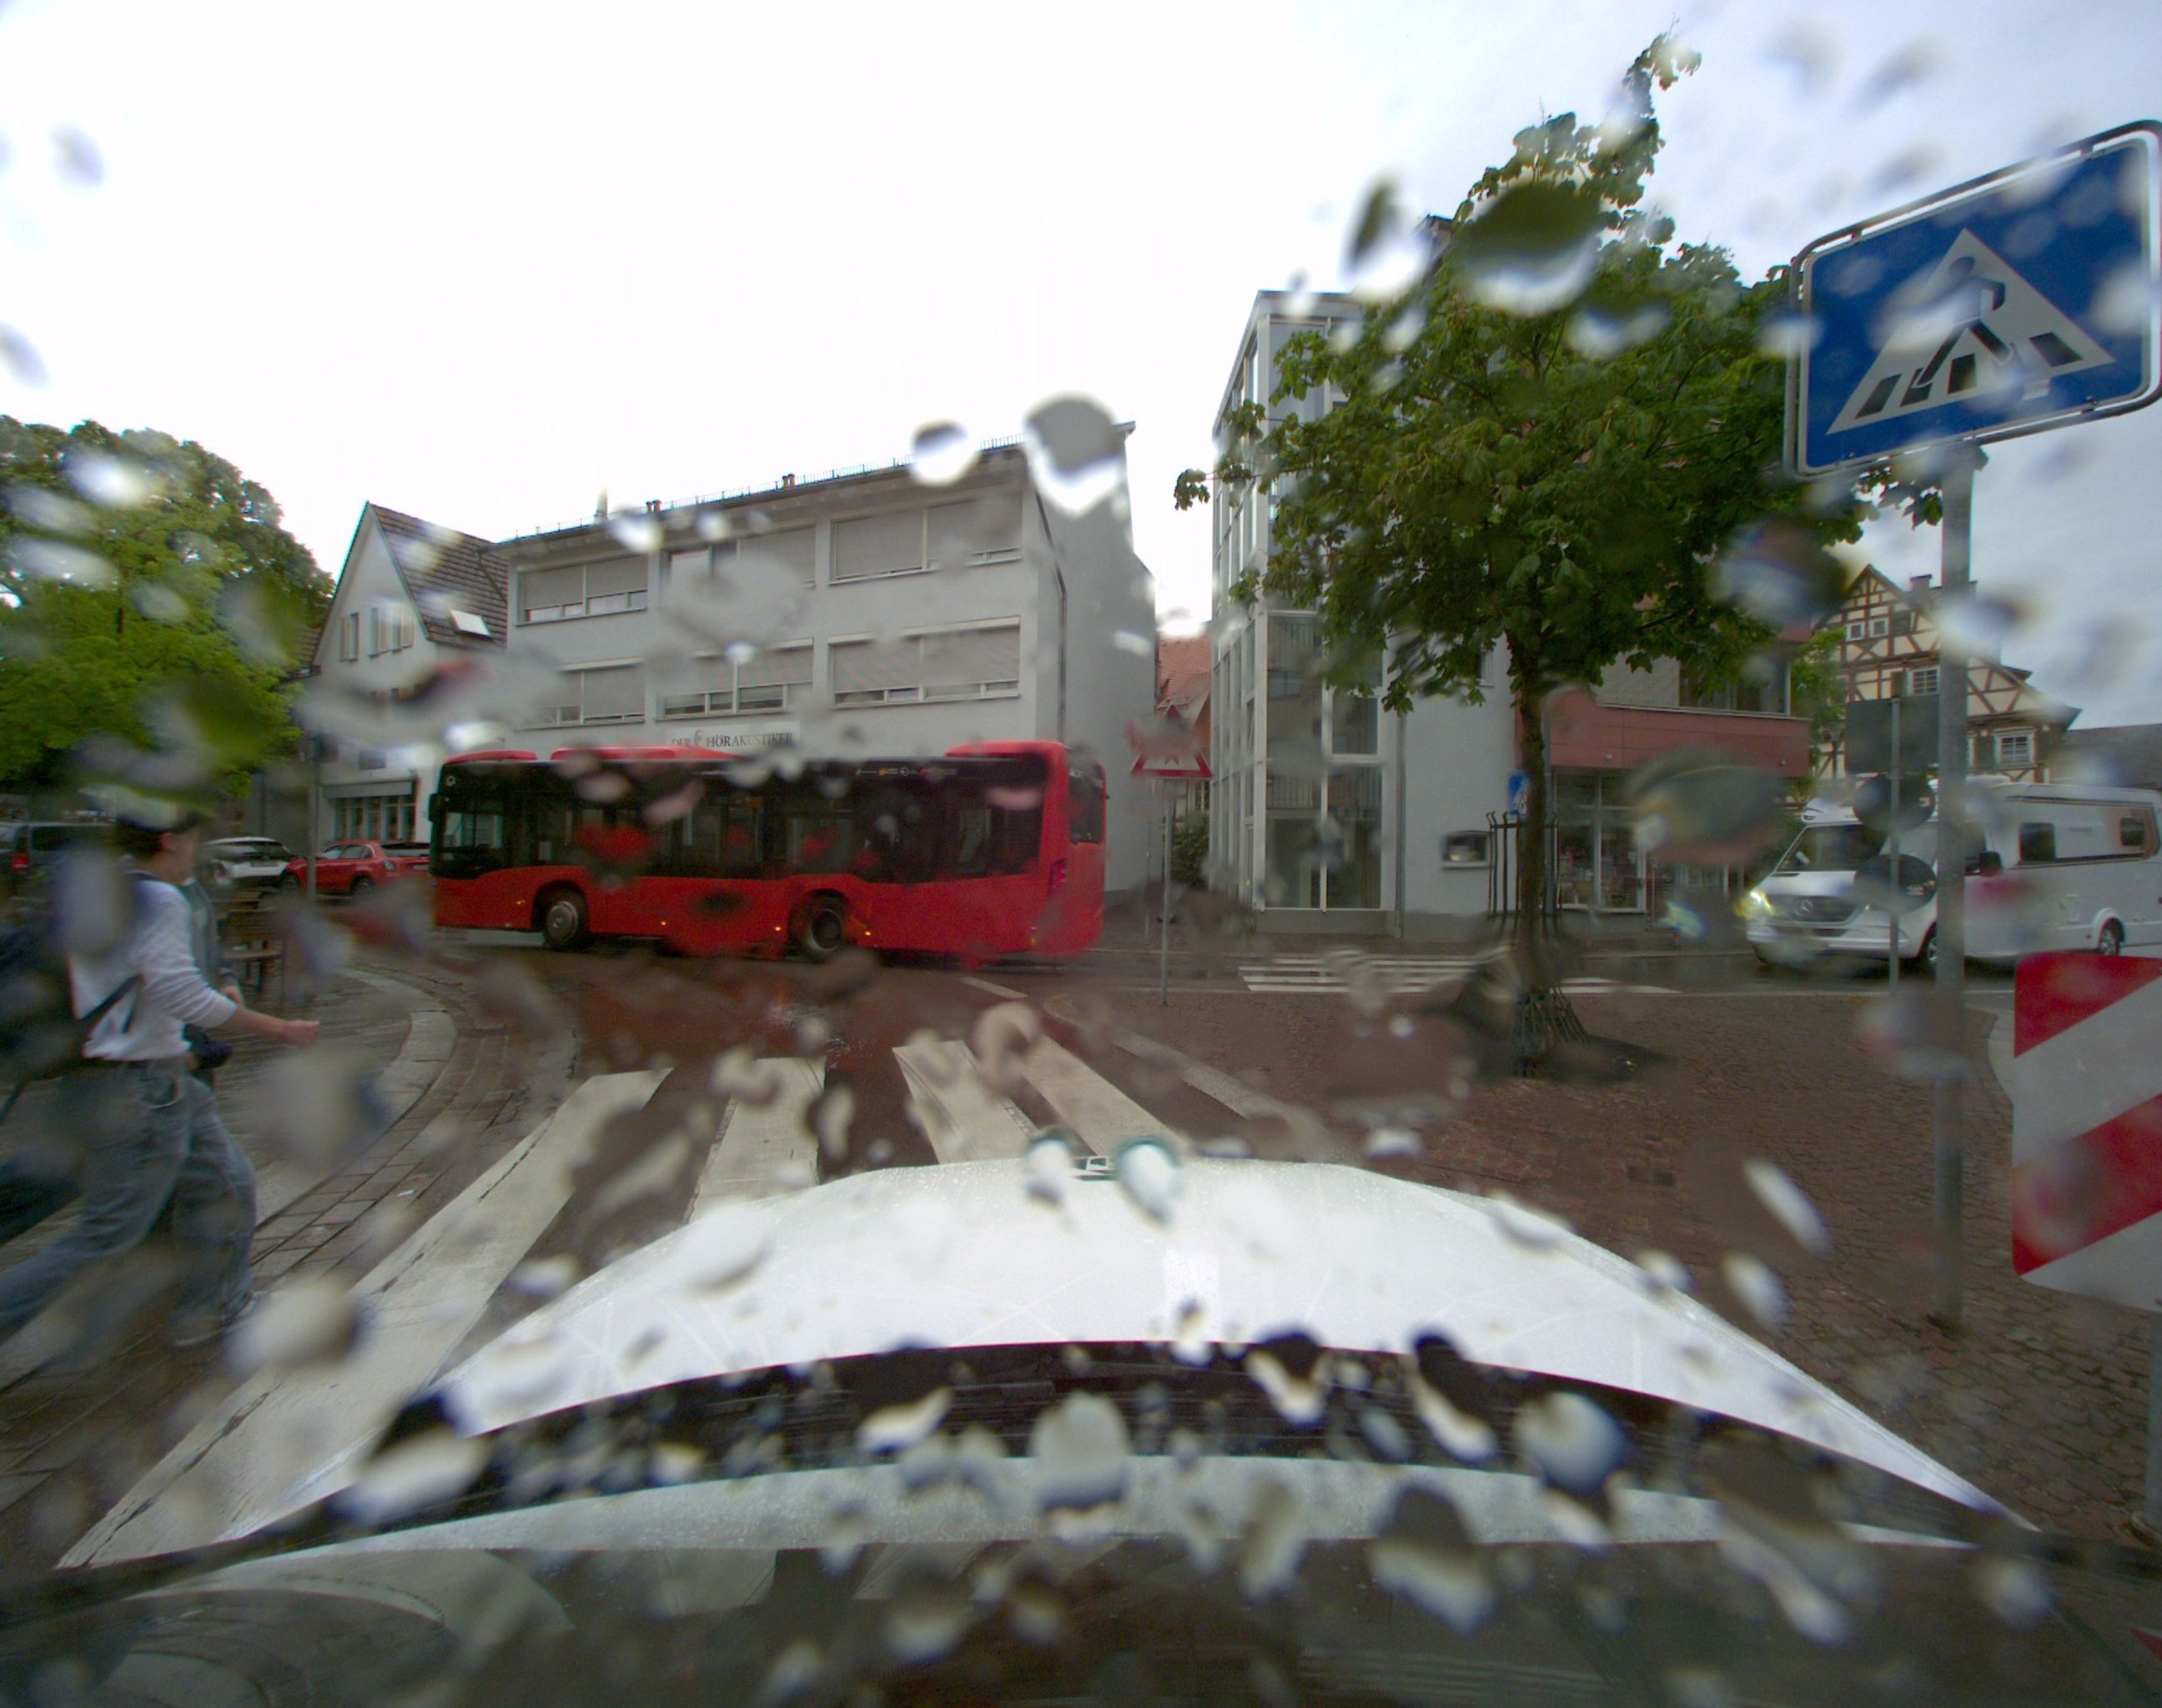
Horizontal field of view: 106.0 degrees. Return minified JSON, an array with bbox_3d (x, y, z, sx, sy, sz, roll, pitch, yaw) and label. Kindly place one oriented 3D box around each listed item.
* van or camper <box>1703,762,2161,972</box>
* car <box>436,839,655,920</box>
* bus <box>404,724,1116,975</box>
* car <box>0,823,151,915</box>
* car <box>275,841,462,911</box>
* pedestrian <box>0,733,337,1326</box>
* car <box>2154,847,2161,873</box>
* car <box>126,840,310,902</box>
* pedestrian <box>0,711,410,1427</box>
[{"bbox_3d":[13.008,0.247,12.338,6.752,2.586,2.428,1,-3,-21],"label":"van or camper"},{"bbox_3d":[-11.759,0.509,17.932,4.180,1.612,1.700,1,0,16],"label":"car"},{"bbox_3d":[-4.907,-0.079,12.632,10.497,3.088,2.832,0,0,14],"label":"bus"},{"bbox_3d":[-23.179,0.244,17.930,4.672,1.780,1.963,2,1,20],"label":"car"},{"bbox_3d":[-16.979,0.474,19.434,3.756,1.528,1.691,1,1,18],"label":"car"},{"bbox_3d":[-3.428,0.537,2.857,0.685,1.800,1.065,-1,-2,37],"label":"pedestrian"},{"bbox_3d":[72.812,0.419,54.162,3.337,1.713,1.661,1,-1,-39],"label":"car"},{"bbox_3d":[-22.465,0.434,21.225,3.817,1.496,1.808,0,-1,18],"label":"car"},{"bbox_3d":[-2.834,0.548,2.475,0.657,1.807,1.068,-1,-1,36],"label":"pedestrian"}]
